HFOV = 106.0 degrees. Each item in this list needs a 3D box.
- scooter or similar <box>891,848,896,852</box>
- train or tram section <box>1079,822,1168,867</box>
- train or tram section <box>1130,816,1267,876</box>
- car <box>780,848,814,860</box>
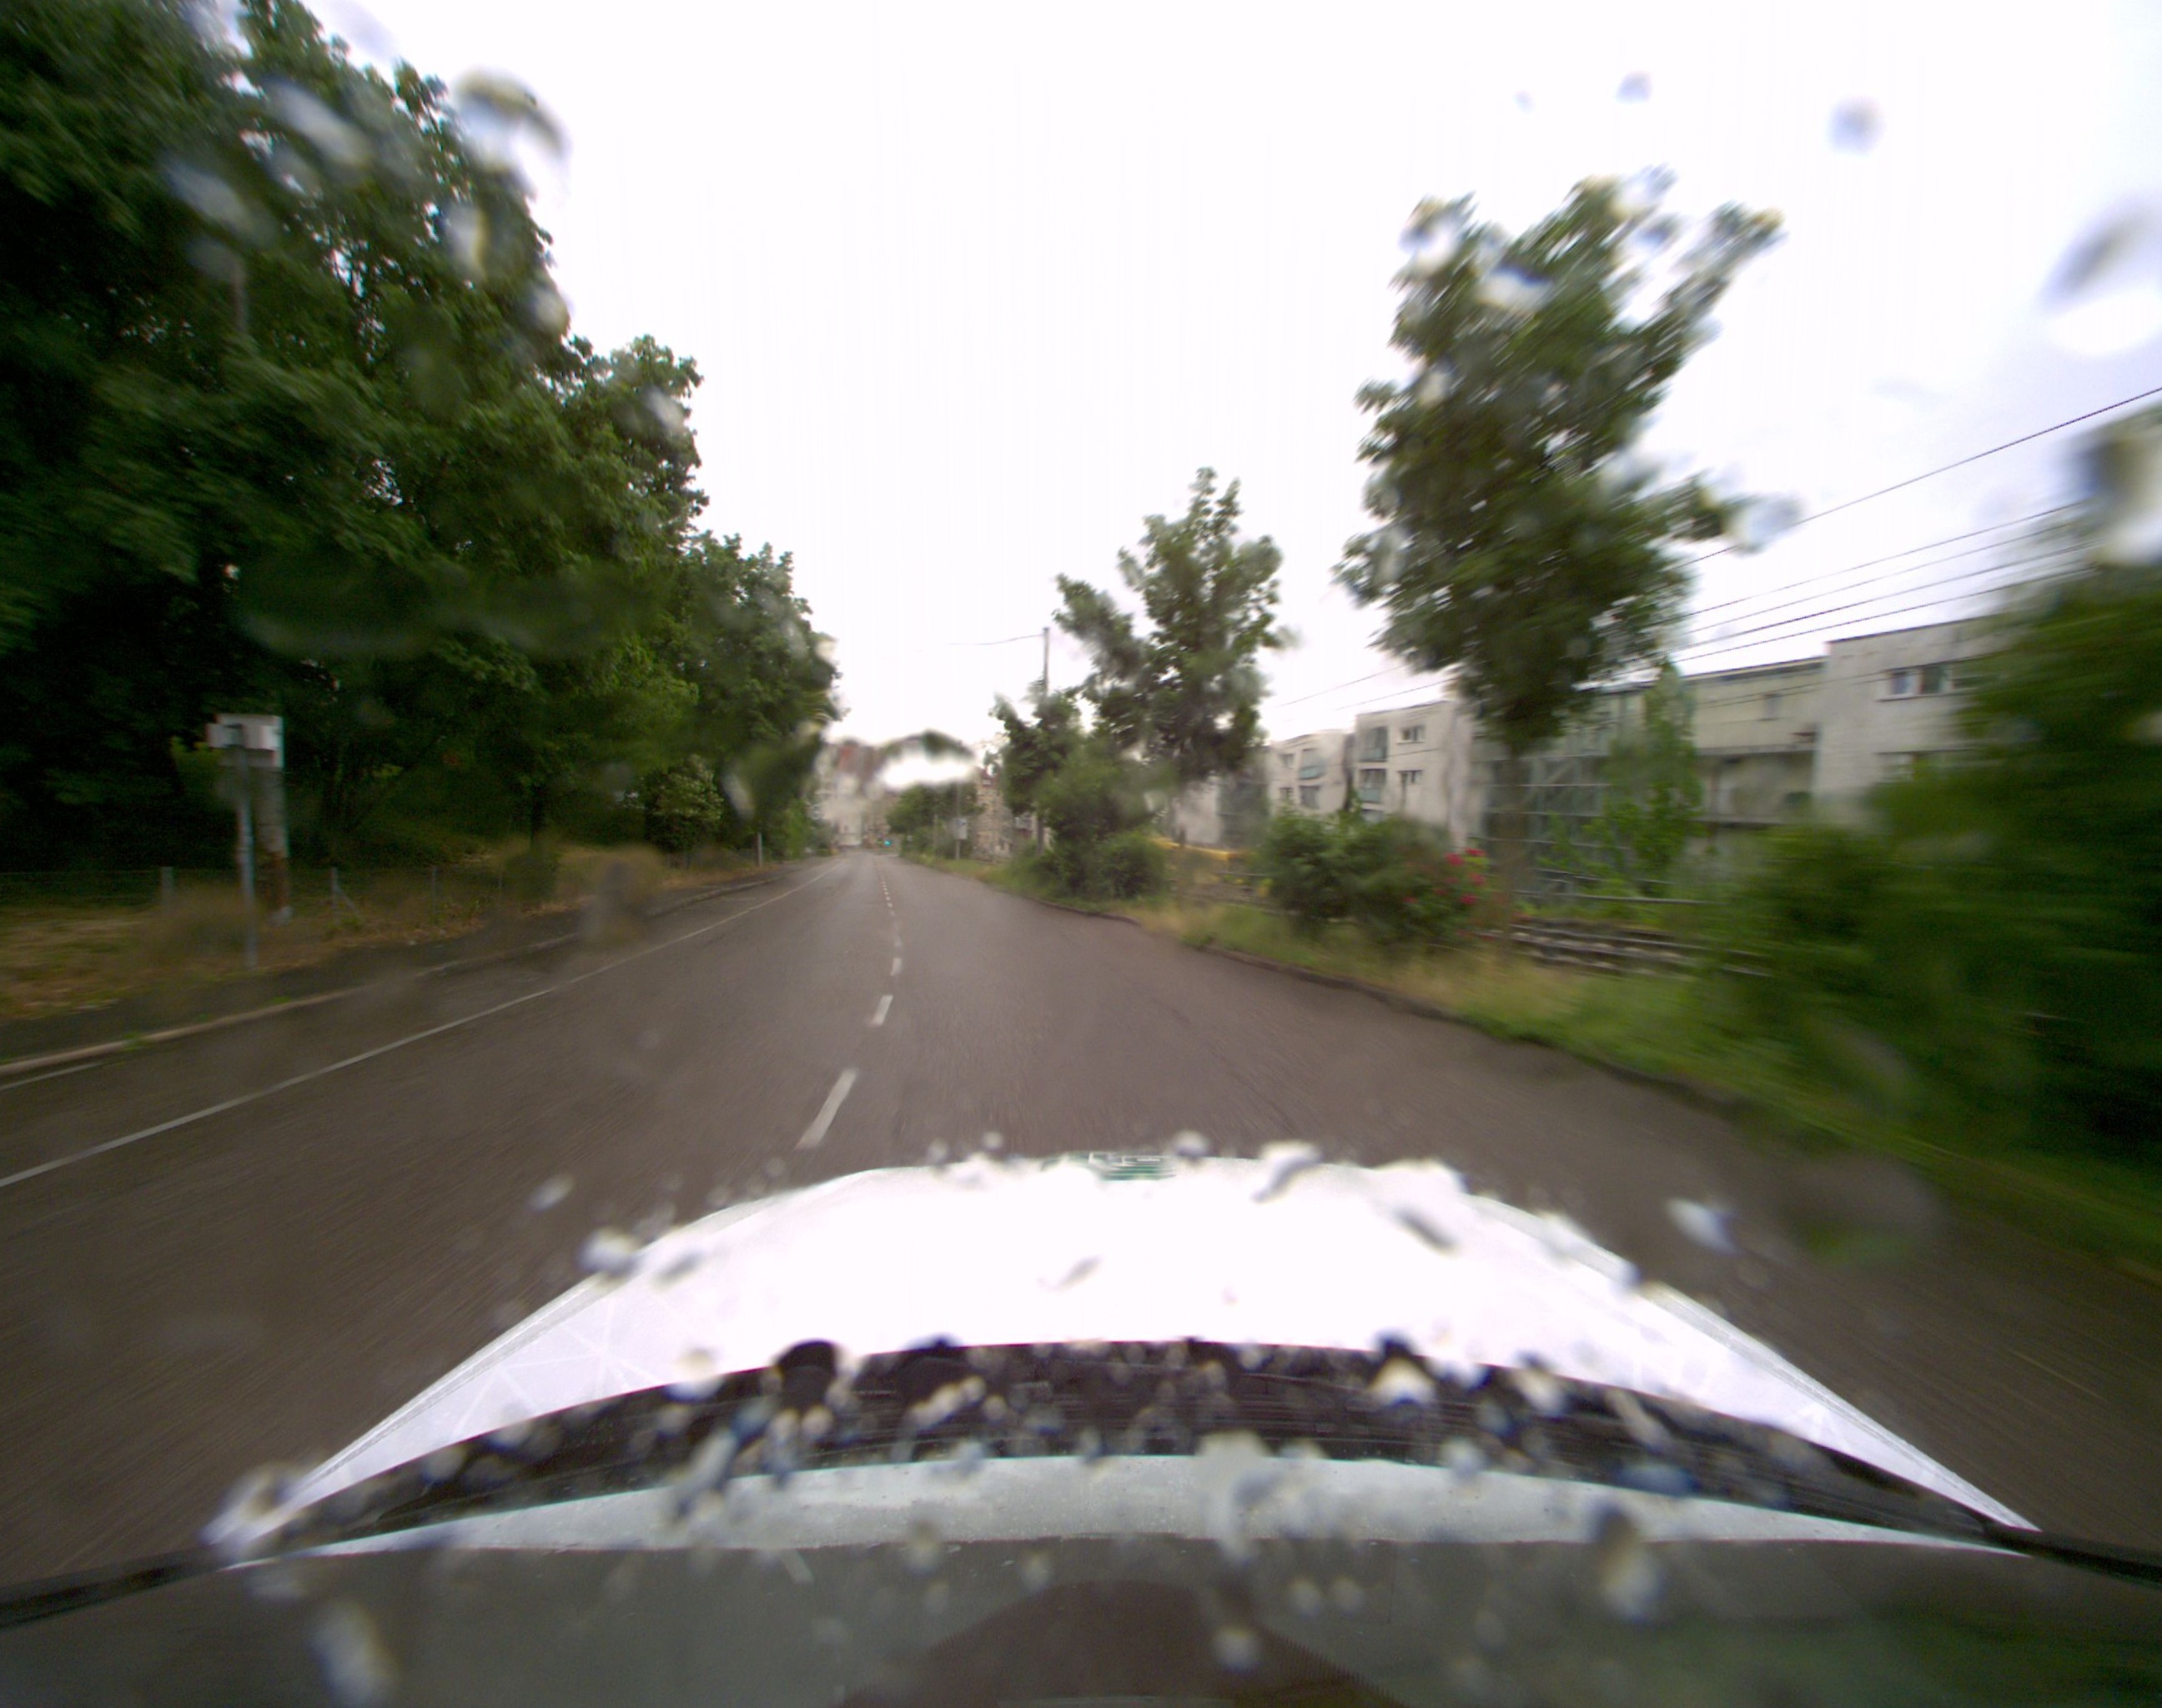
[{"bbox_3d":[-39.706,-0.824,172.808,0.481,0.761,1.334,0,1,13],"label":"scooter or similar"},{"bbox_3d":[3.745,-0.995,81.342,3.336,3.947,18.719,1,1,-15],"label":"train or tram section"},{"bbox_3d":[8.432,-0.695,63.467,3.336,3.947,19.185,1,1,-15],"label":"train or tram section"},{"bbox_3d":[-34.178,0.020,98.168,3.635,1.407,1.775,1,0,-14],"label":"car"}]
